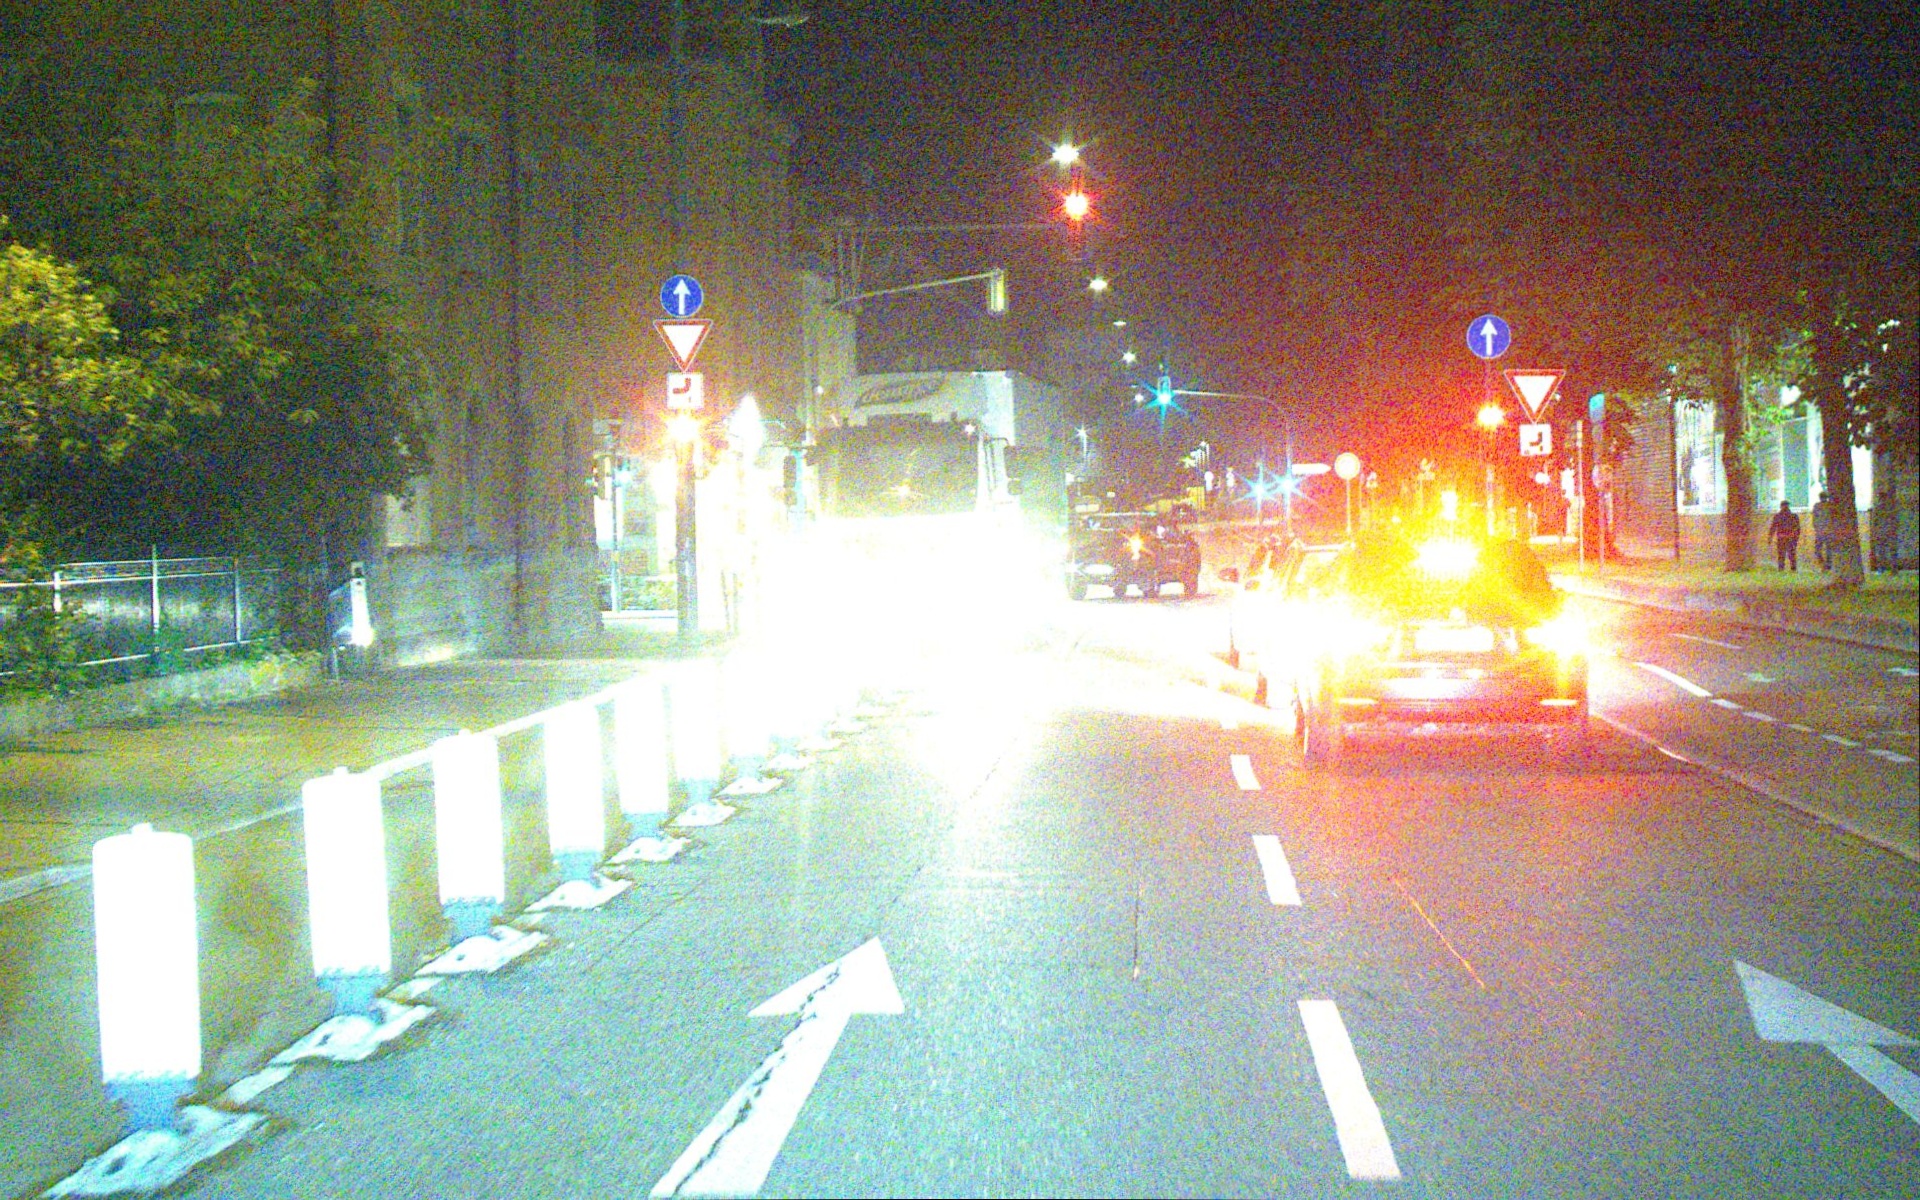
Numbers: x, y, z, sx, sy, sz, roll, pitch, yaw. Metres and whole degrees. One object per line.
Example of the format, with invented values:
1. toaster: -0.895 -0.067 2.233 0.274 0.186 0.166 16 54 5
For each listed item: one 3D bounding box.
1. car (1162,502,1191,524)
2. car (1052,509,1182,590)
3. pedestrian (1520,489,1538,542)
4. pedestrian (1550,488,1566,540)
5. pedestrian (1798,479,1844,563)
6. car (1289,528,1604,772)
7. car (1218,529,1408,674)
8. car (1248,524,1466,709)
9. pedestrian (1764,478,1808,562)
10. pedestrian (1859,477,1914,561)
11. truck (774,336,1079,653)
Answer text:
1. car: 16.335 -6.589 259.223 1.993 1.590 4.000 -1 1 1
2. car: 3.364 -1.082 72.937 1.995 1.634 3.998 -1 1 14
3. pedestrian: 22.024 -3.267 133.057 0.531 2.007 0.670 -2 1 3
4. pedestrian: 23.165 -3.325 133.121 0.488 2.007 0.551 -2 1 3
5. pedestrian: 18.472 -1.697 73.792 0.739 1.763 0.907 -2 1 3
6. car: 3.247 0.260 23.726 1.805 1.489 4.729 1 1 4
7. car: 3.712 -0.030 36.747 1.729 1.430 4.211 0 1 2
8. car: 3.402 0.087 30.038 1.637 1.489 4.000 0 1 3
9. pedestrian: 17.684 -1.707 73.615 0.714 1.763 0.907 -2 1 3
10. pedestrian: 19.834 -1.729 73.603 0.901 1.763 0.907 -2 1 3
11. truck: -0.241 -1.389 46.544 2.756 3.705 10.111 -3 1 6
